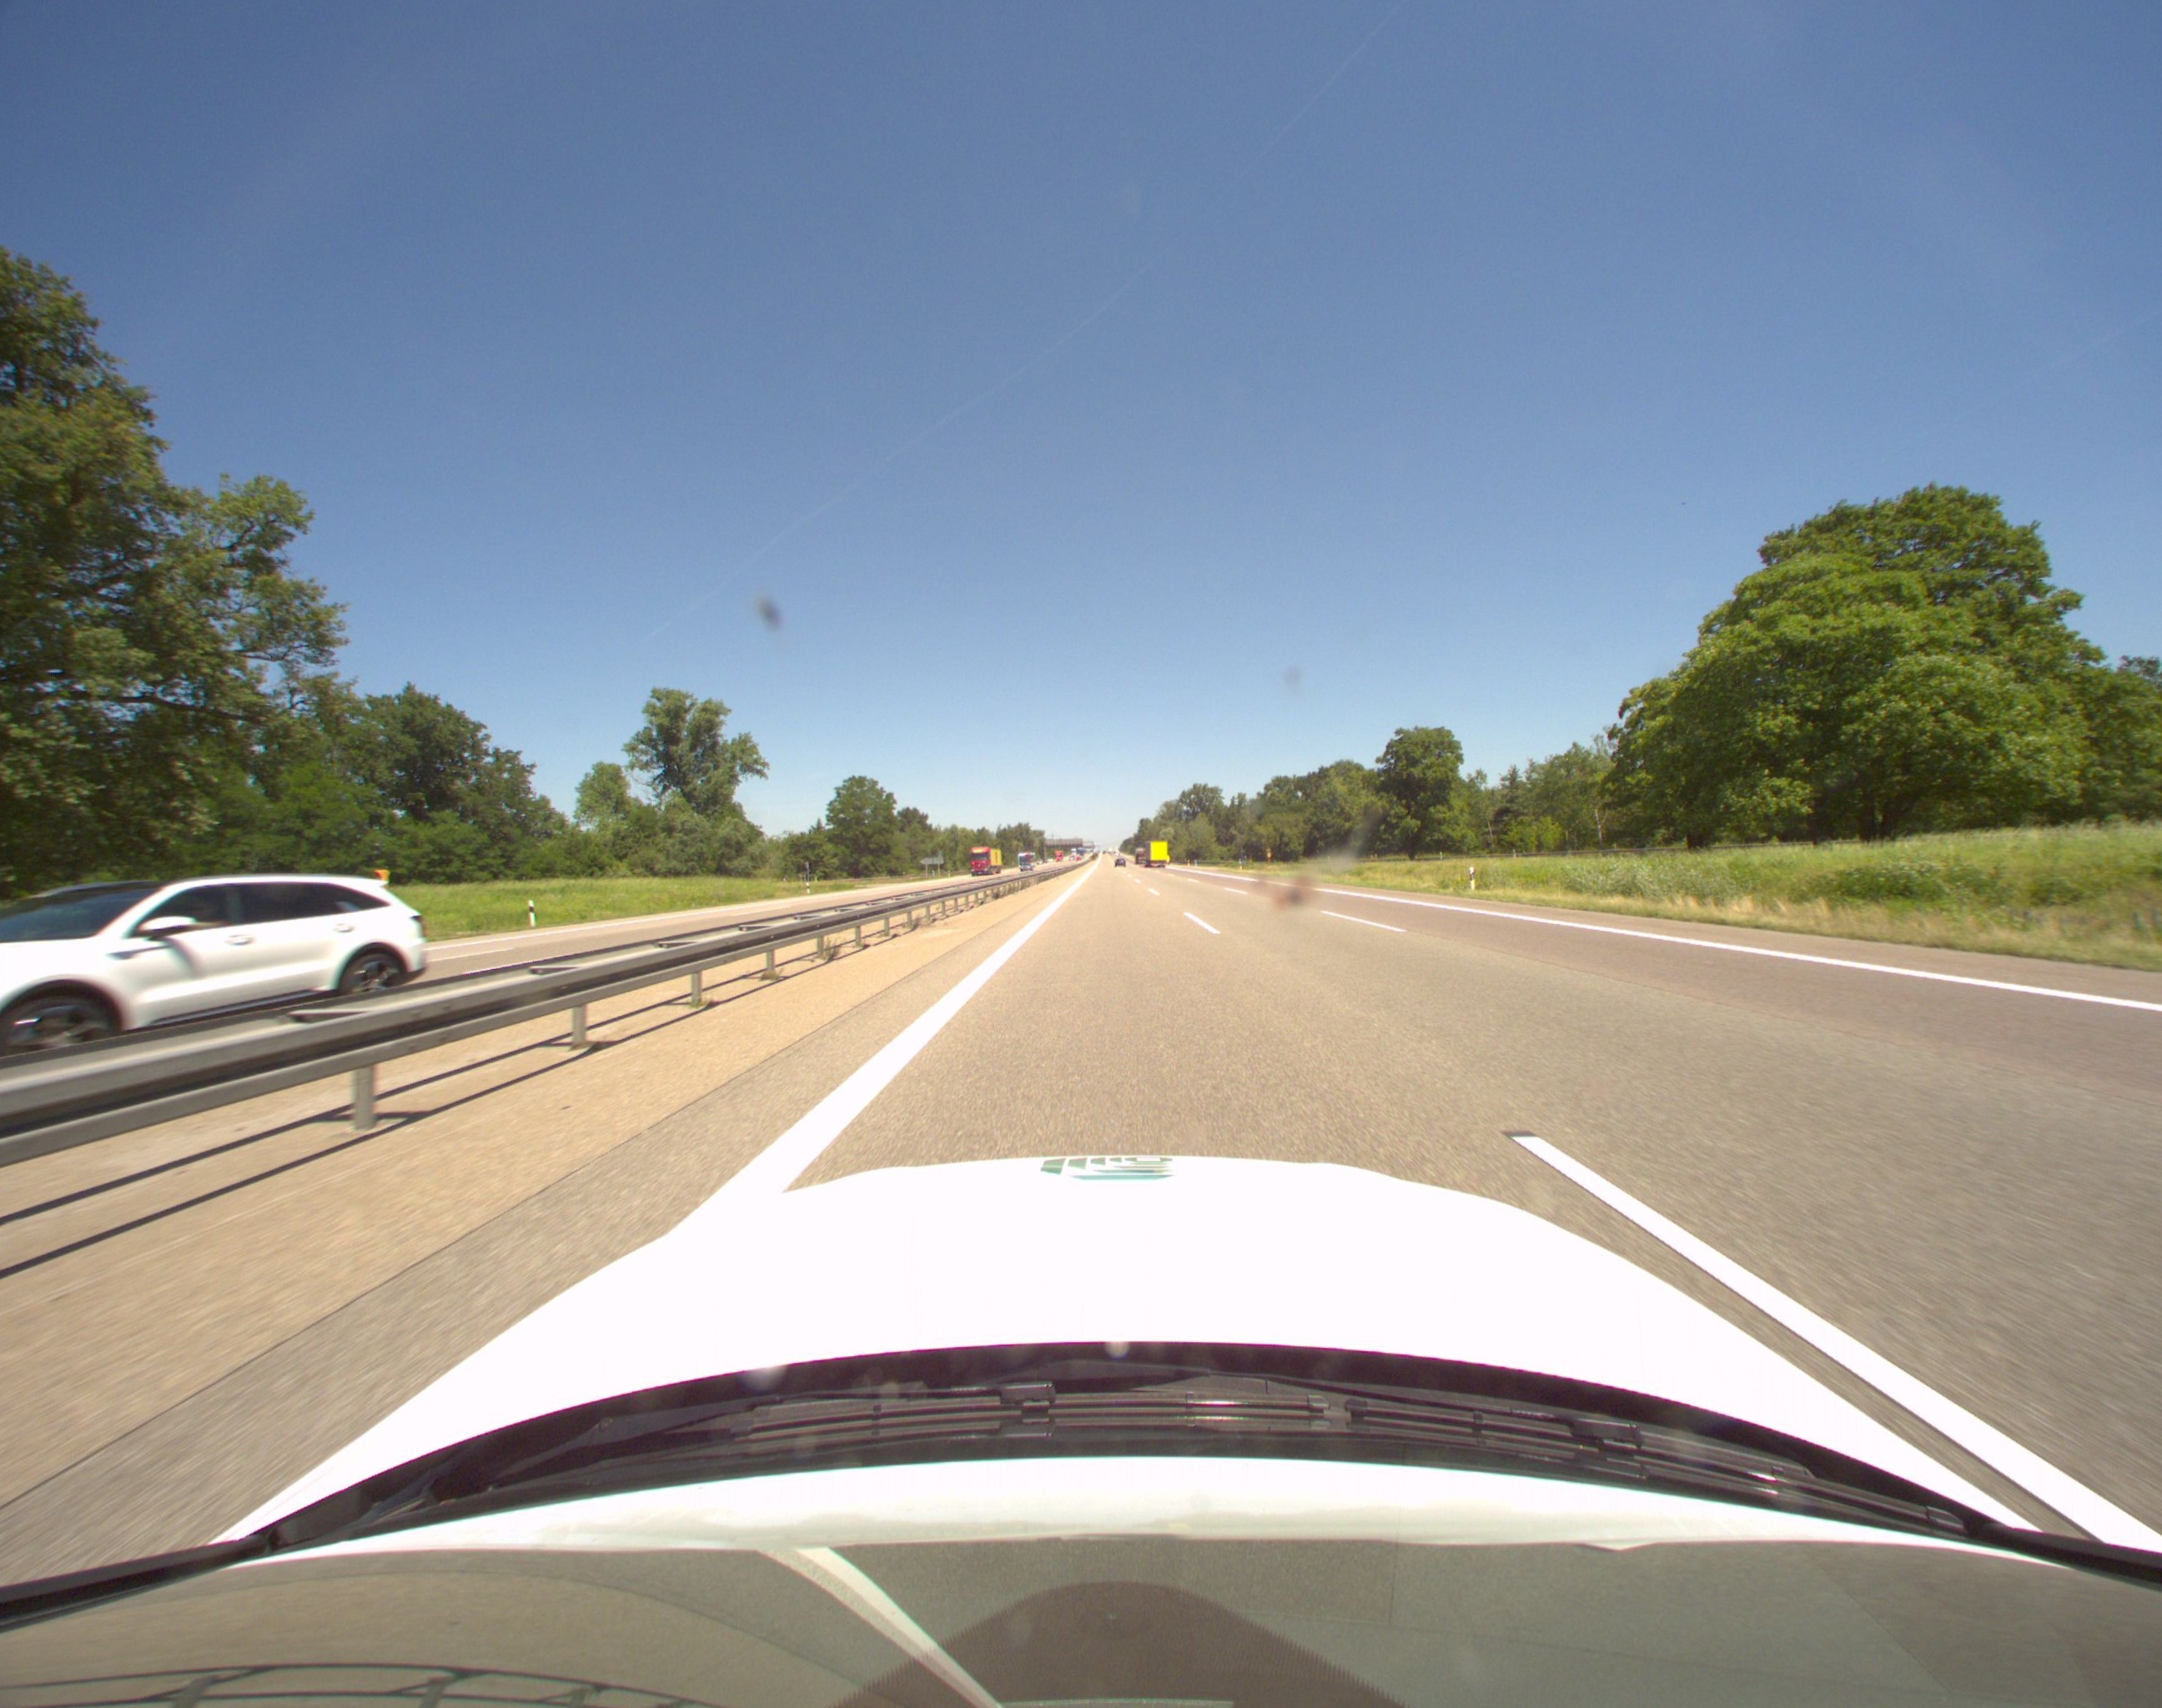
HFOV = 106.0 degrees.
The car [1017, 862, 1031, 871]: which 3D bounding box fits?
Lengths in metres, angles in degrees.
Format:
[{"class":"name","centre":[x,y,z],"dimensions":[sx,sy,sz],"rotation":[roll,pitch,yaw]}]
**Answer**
[{"class":"car","centre":[-9.353,2.058,134.203],"dimensions":[1.715,1.380,4.786],"rotation":[-5,-1,0]}]

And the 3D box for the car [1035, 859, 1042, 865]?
[{"class":"car","centre":[-13.462,2.541,258.387],"dimensions":[1.802,1.772,4.002],"rotation":[-2,0,2]}]

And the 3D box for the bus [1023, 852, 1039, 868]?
[{"class":"bus","centre":[-11.691,1.379,191.147],"dimensions":[2.753,3.447,10.150],"rotation":[-3,0,2]}]

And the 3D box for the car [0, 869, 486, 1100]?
[{"class":"car","centre":[-9.101,1.071,8.523],"dimensions":[1.804,1.692,5.126],"rotation":[-2,0,2]}]

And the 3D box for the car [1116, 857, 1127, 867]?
[{"class":"car","centre":[6.933,1.334,138.994],"dimensions":[1.820,1.706,4.001],"rotation":[-1,0,1]}]

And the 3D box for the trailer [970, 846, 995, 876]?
[{"class":"trailer","centre":[-13.729,0.983,113.796],"dimensions":[2.593,3.992,6.031],"rotation":[-1,0,2]}]

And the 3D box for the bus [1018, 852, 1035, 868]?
[{"class":"bus","centre":[-12.001,1.336,181.589],"dimensions":[2.753,3.447,8.935],"rotation":[-3,0,2]}]

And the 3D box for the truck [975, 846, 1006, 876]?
[{"class":"truck","centre":[-13.368,0.955,121.291],"dimensions":[2.590,4.047,12.697],"rotation":[-4,0,2]}]

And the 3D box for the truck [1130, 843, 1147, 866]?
[{"class":"truck","centre":[12.541,0.193,179.320],"dimensions":[3.353,4.881,15.095],"rotation":[-1,0,3]}]

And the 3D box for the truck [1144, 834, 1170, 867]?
[{"class":"truck","centre":[12.089,-0.517,131.138],"dimensions":[3.363,4.881,15.095],"rotation":[-1,0,3]}]
